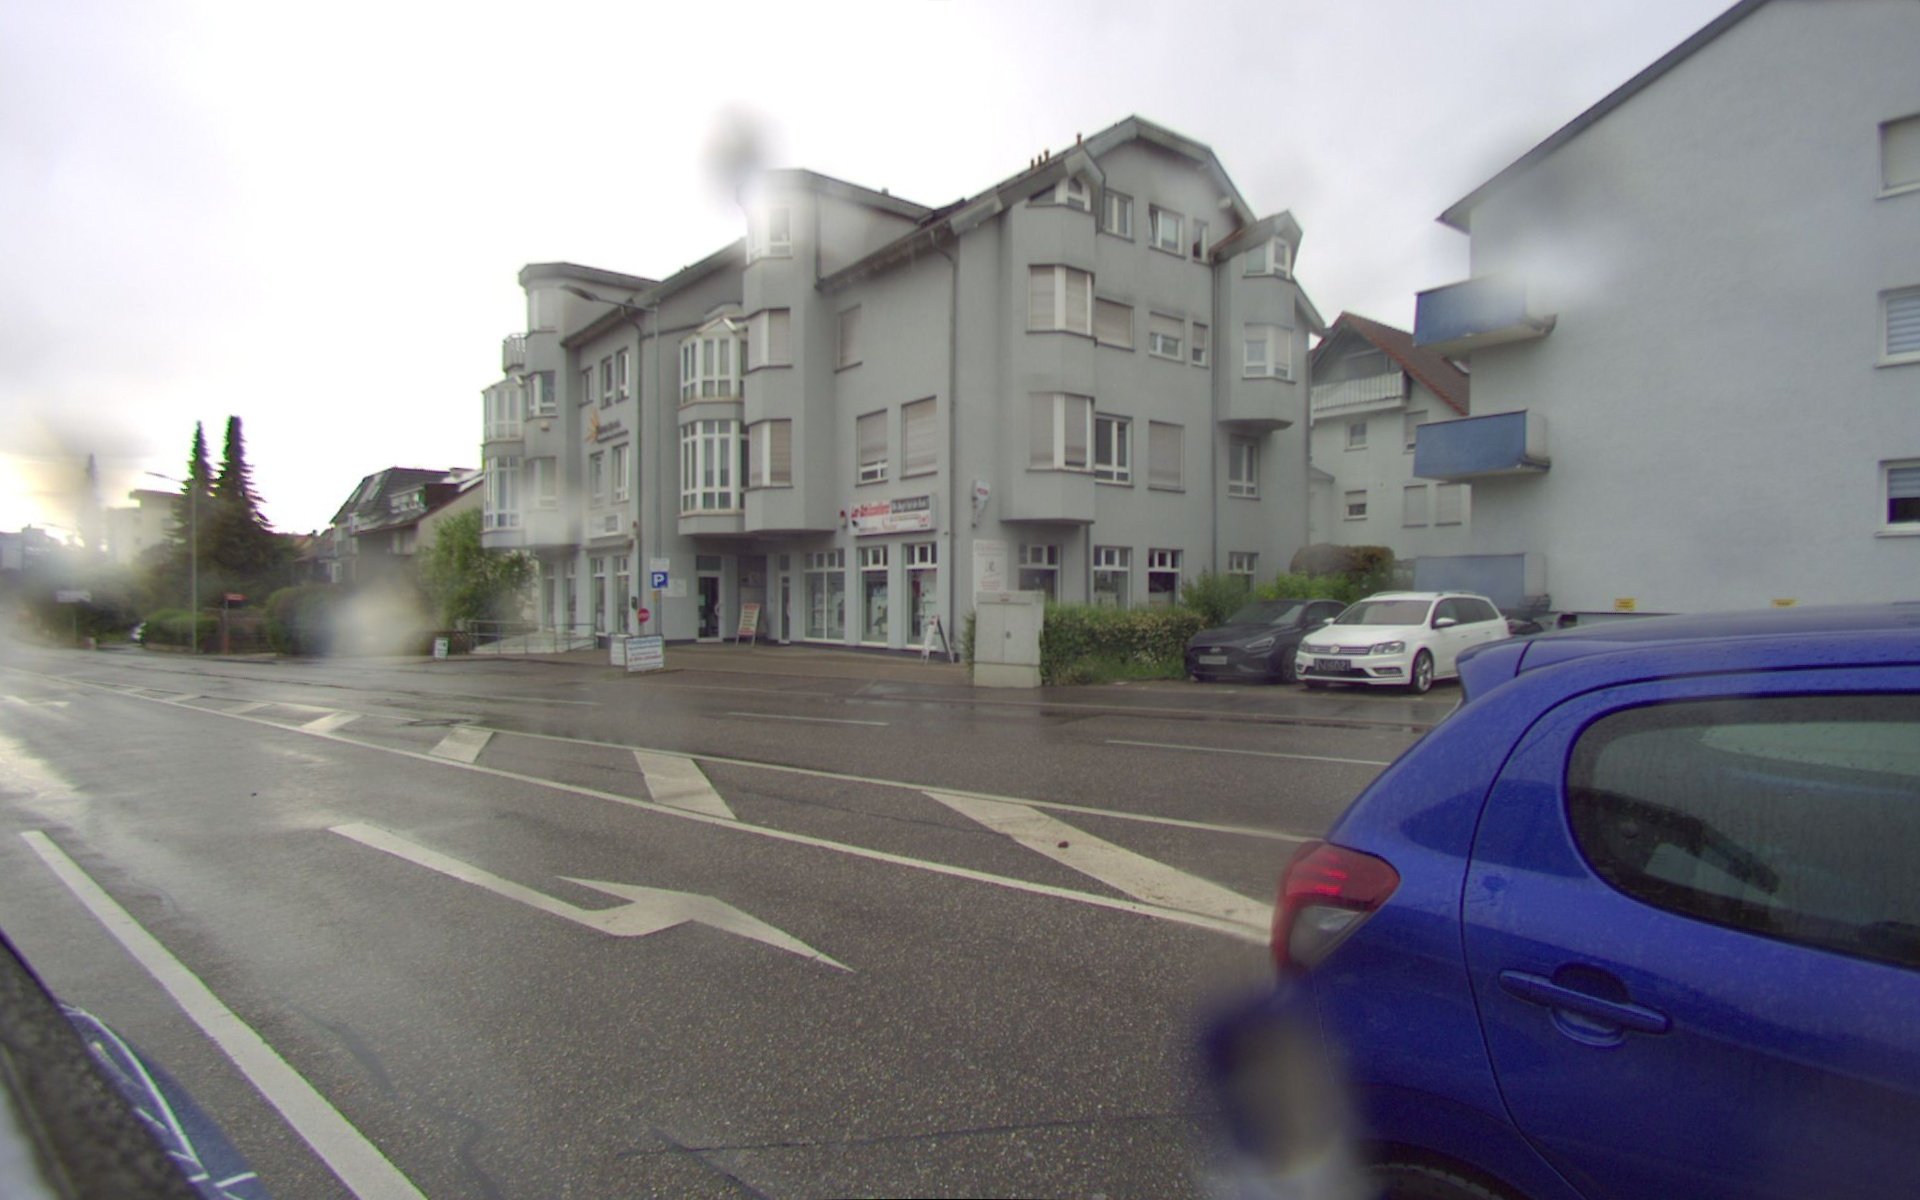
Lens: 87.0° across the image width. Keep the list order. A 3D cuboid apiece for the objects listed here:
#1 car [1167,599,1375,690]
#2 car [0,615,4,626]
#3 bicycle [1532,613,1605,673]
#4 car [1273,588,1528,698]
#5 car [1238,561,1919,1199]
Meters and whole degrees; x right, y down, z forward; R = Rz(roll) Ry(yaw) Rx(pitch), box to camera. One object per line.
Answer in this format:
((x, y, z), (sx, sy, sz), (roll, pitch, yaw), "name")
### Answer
((5.500, 0.689, 17.652), (1.851, 1.366, 3.941), (-1, 0, 45), "car")
((-164.990, 3.571, 173.083), (1.969, 1.832, 4.005), (-1, 0, -42), "car")
((11.150, 0.791, 18.563), (1.065, 1.061, 0.343), (-2, -1, 41), "bicycle")
((6.989, 0.603, 15.807), (4.685, 1.471, 1.883), (0, -2, -42), "car")
((2.242, 0.636, 1.199), (3.362, 1.423, 1.489), (-2, -1, 41), "car")
